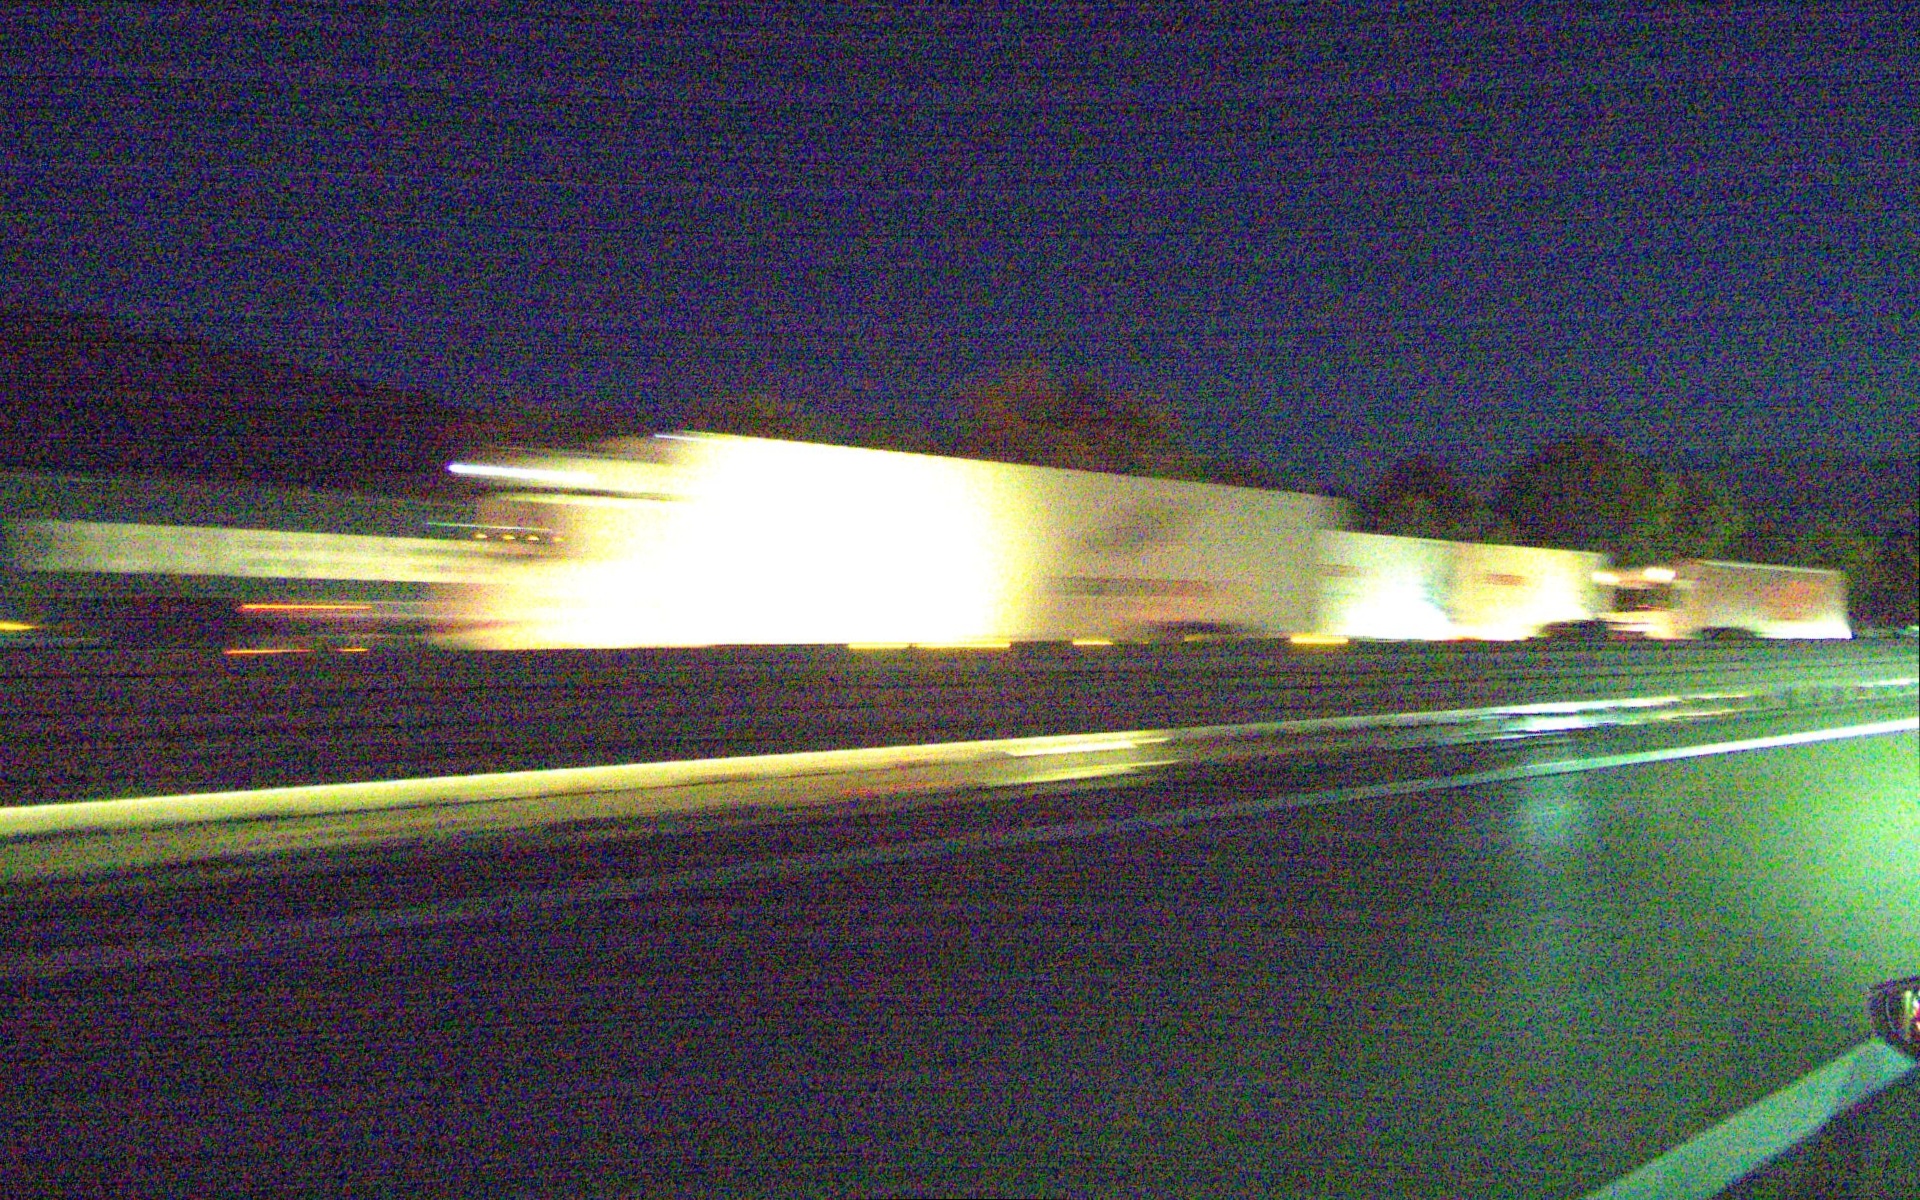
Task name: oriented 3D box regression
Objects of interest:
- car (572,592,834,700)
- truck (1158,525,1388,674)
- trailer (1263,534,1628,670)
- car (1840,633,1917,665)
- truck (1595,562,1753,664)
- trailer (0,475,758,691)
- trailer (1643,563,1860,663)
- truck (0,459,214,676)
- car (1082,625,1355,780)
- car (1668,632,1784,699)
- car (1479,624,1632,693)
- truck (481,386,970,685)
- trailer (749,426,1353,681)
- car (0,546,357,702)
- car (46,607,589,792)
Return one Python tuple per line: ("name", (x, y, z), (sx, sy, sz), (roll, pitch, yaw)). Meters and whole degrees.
("car", (-4.890, 0.869, 19.264), (4.451, 1.847, 1.983), (3, -1, -32))
("truck", (8.734, 0.034, 27.942), (5.981, 3.722, 2.860), (1, 0, -31))
("trailer", (16.169, 0.184, 32.443), (15.063, 3.720, 2.871), (1, 0, -31))
("car", (54.565, 2.898, 59.622), (5.265, 1.706, 1.983), (3, -1, -32))
("truck", (27.945, 0.516, 39.285), (5.980, 3.722, 2.860), (1, 0, -30))
("trailer", (-11.032, -0.123, 20.630), (13.283, 3.488, 2.945), (2, -1, -31))
("trailer", (34.181, 0.686, 43.087), (12.898, 3.720, 2.871), (3, -1, -31))
("truck", (-16.847, -0.539, 17.095), (6.289, 3.488, 2.945), (1, -1, -31))
("car", (4.070, 1.490, 15.628), (3.960, 2.040, 1.980), (3, -1, -35))
("car", (25.714, 2.175, 33.688), (3.960, 2.040, 1.980), (3, -1, -35))
("car", (16.535, 1.603, 27.833), (4.462, 1.708, 1.980), (3, -1, -35))
("truck", (-3.490, -0.689, 15.488), (6.704, 3.722, 2.859), (3, -1, -31))
("trailer", (2.332, -0.452, 19.081), (12.081, 3.720, 2.870), (3, -1, -32))
("car", (-11.916, 0.356, 14.758), (5.186, 2.040, 1.983), (3, -1, -32))
("car", (-5.863, 0.836, 9.600), (3.960, 1.377, 1.980), (3, -1, -35))
